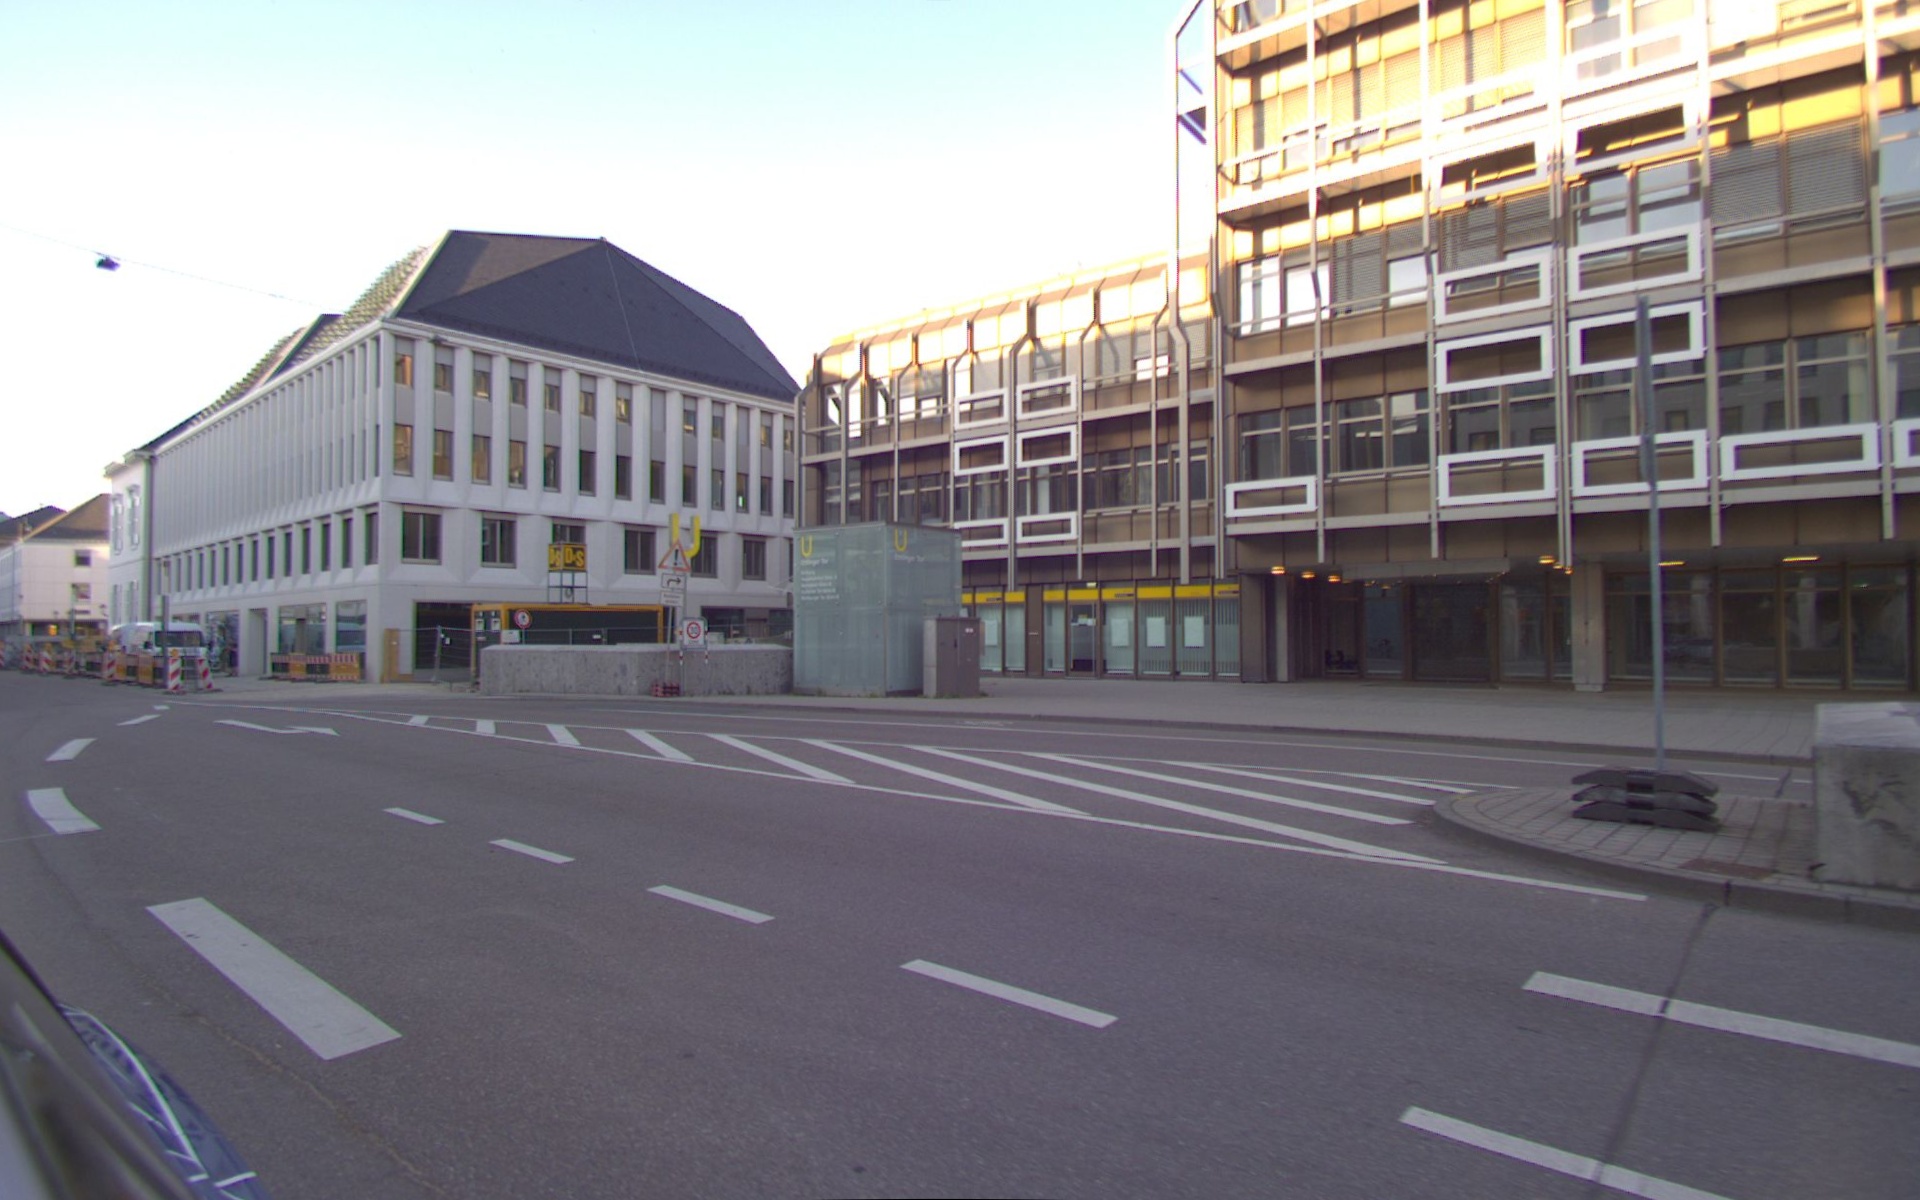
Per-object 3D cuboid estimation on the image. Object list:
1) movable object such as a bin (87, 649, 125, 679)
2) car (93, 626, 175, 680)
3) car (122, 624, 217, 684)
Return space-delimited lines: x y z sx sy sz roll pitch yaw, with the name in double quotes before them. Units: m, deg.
"movable object such as a bin" -43.660 3.275 51.741 1.388 1.477 1.036 -2 -2 29
"car" -40.330 2.546 49.342 5.996 2.489 2.150 -2 -3 41
"car" -34.749 2.327 44.411 5.996 2.489 2.151 -2 -3 41
